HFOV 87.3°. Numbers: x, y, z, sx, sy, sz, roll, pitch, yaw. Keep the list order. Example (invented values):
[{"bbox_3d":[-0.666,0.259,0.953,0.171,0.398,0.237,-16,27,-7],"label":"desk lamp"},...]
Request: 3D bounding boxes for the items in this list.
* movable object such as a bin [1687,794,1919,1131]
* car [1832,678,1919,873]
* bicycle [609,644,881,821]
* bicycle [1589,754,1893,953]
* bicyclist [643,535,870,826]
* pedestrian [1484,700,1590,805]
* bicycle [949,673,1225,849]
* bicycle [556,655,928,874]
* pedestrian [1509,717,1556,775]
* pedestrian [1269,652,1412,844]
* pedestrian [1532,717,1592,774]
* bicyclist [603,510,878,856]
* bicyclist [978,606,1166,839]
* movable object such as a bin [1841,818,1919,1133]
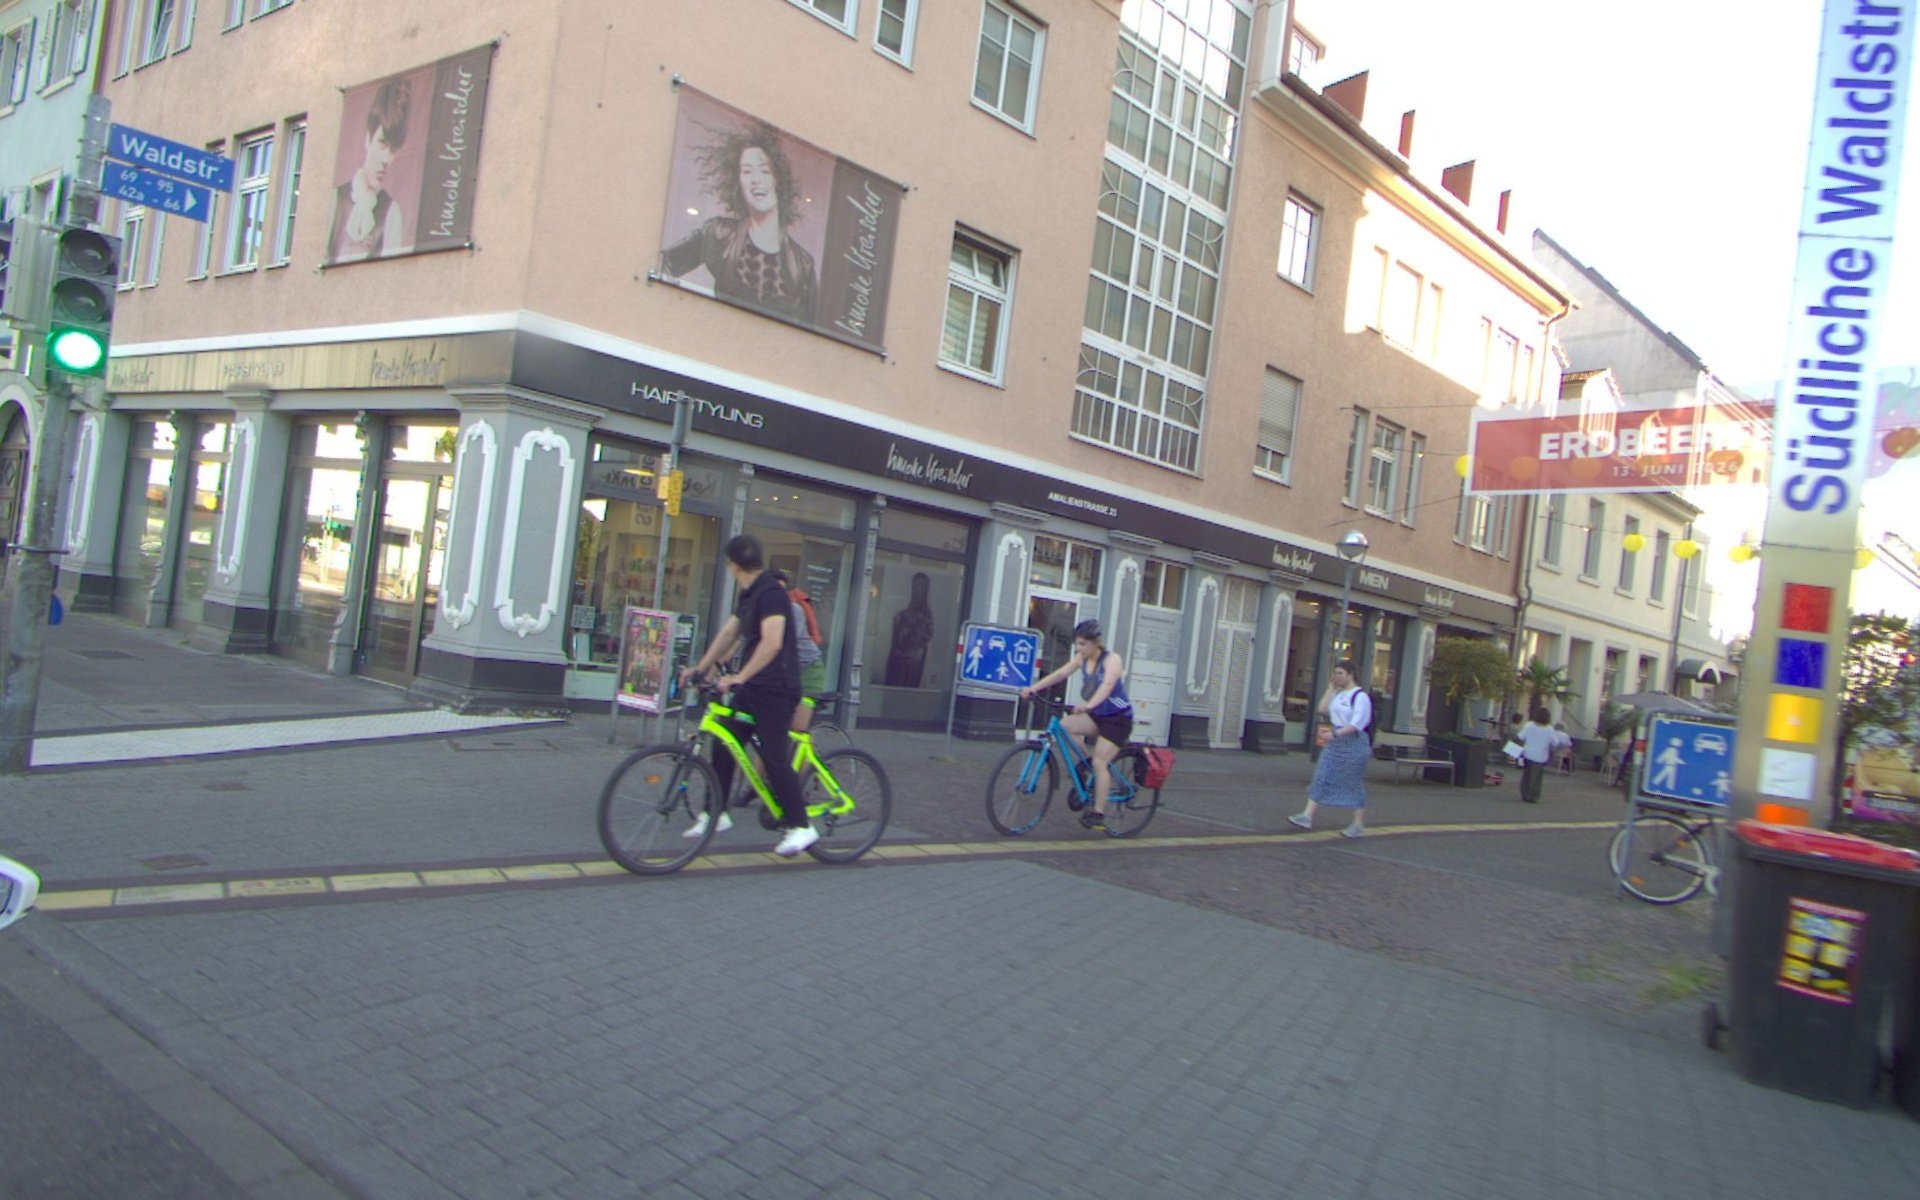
[{"bbox_3d":[3.635,1.480,4.349,0.610,1.125,0.810,6,-2,30],"label":"movable object such as a bin"},{"bbox_3d":[14.575,2.646,14.499,4.660,2.495,2.050,9,-4,-37],"label":"car"},{"bbox_3d":[-1.406,0.902,6.943,0.556,1.005,1.817,6,-2,37],"label":"bicycle"},{"bbox_3d":[6.043,1.902,7.870,0.558,1.101,1.729,8,-2,-42],"label":"bicycle"},{"bbox_3d":[-1.374,0.545,6.926,0.741,1.782,1.138,6,-1,36],"label":"bicyclist"},{"bbox_3d":[9.383,2.466,16.357,1.077,1.497,1.099,8,-3,-41],"label":"pedestrian"},{"bbox_3d":[0.984,1.234,7.679,1.897,1.109,0.729,8,-1,-26],"label":"bicycle"},{"bbox_3d":[-1.180,0.916,5.658,1.895,1.032,0.556,6,0,-31],"label":"bicycle"},{"bbox_3d":[14.122,3.579,24.840,0.759,1.265,0.820,7,-1,20],"label":"pedestrian"},{"bbox_3d":[3.644,1.403,9.668,0.805,1.677,0.763,8,-1,-22],"label":"pedestrian"},{"bbox_3d":[14.469,3.504,24.163,1.121,1.206,0.810,8,-1,-40],"label":"pedestrian"},{"bbox_3d":[-1.207,0.467,5.536,1.120,1.704,0.720,8,-1,-31],"label":"bicyclist"},{"bbox_3d":[0.843,0.918,7.647,1.018,1.602,0.722,8,-1,-25],"label":"bicyclist"},{"bbox_3d":[4.126,1.537,4.069,0.610,1.125,0.810,6,-2,30],"label":"movable object such as a bin"}]
